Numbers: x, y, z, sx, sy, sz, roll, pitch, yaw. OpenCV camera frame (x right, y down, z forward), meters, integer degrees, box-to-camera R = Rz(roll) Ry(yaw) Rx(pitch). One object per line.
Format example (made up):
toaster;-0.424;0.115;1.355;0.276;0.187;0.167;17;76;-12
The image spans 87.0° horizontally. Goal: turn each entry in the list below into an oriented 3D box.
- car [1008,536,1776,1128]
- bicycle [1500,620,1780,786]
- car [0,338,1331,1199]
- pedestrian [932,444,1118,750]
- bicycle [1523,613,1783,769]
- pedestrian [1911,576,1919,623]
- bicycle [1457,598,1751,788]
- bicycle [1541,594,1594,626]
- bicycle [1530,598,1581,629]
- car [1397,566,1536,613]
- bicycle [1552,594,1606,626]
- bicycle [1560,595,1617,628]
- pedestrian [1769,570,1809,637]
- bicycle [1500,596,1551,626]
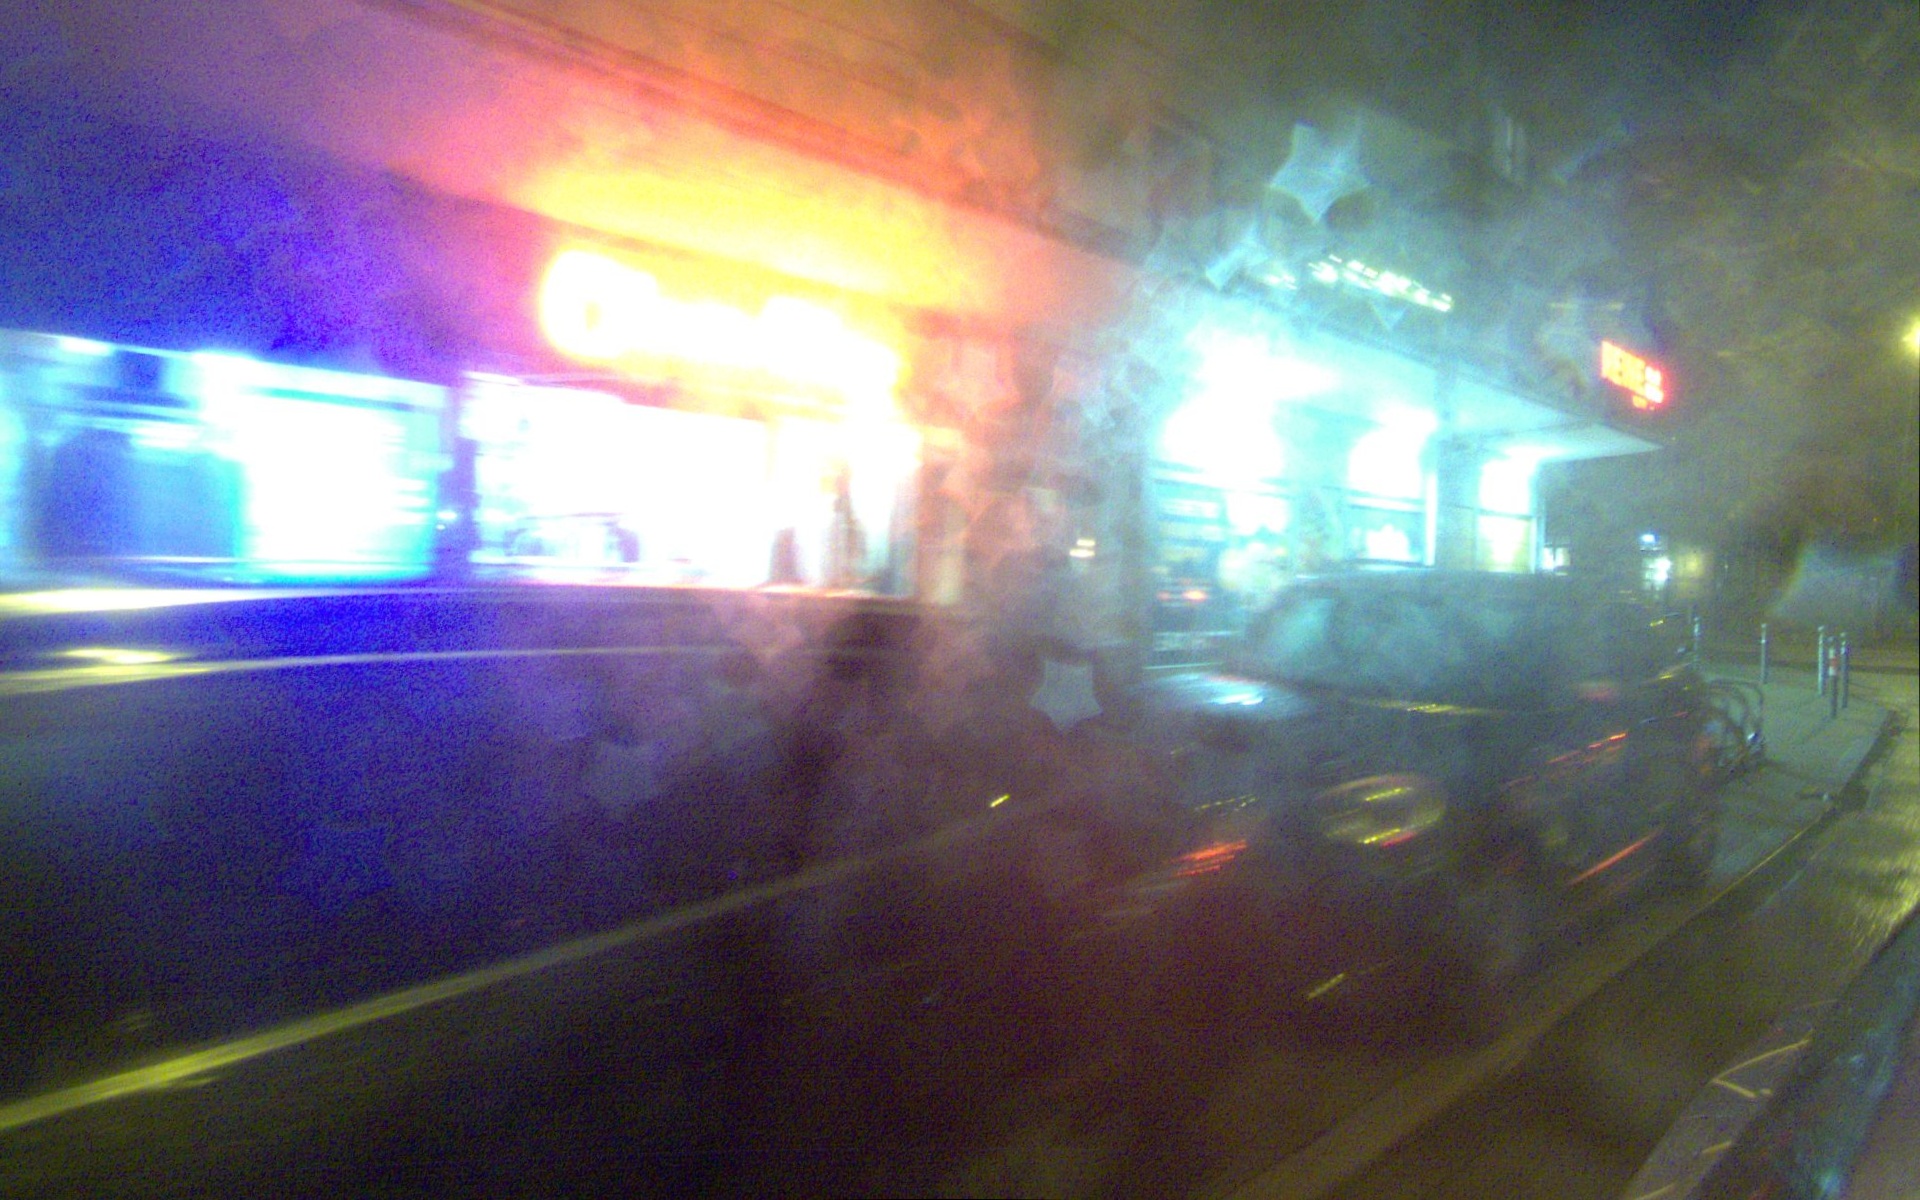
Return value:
car;2.285;0.572;4.731;4.083;1.585;1.755;-1;1;-42
bicycle;5.316;0.751;8.023;0.428;1.092;1.765;1;2;-41
car;-1.346;0.552;1.499;4.323;1.557;1.755;-1;1;-42
pedestrian;0.506;-0.051;8.084;0.953;2.235;1.056;0;3;-40
bicycle;5.962;0.728;8.810;0.428;1.139;1.786;1;2;-41
pedestrian;37.840;-0.014;39.450;0.793;1.839;0.793;0;2;-15
bicycle;4.842;0.641;7.738;0.428;1.138;1.766;1;5;-41
bicycle;20.575;0.336;34.264;1.772;1.021;0.380;2;1;-15
bicycle;20.464;0.464;34.783;1.772;1.021;0.404;0;0;-15
car;20.334;-0.401;40.665;4.989;1.784;2.004;1;0;-17
bicycle;20.617;0.341;33.697;1.772;1.021;0.404;2;1;-15
bicycle;20.560;0.368;33.106;1.772;1.021;0.456;2;1;-15
pedestrian;23.547;0.091;28.749;1.058;1.855;0.676;0;0;-38
bicycle;20.155;0.385;36.083;1.772;1.021;0.404;2;1;-15
